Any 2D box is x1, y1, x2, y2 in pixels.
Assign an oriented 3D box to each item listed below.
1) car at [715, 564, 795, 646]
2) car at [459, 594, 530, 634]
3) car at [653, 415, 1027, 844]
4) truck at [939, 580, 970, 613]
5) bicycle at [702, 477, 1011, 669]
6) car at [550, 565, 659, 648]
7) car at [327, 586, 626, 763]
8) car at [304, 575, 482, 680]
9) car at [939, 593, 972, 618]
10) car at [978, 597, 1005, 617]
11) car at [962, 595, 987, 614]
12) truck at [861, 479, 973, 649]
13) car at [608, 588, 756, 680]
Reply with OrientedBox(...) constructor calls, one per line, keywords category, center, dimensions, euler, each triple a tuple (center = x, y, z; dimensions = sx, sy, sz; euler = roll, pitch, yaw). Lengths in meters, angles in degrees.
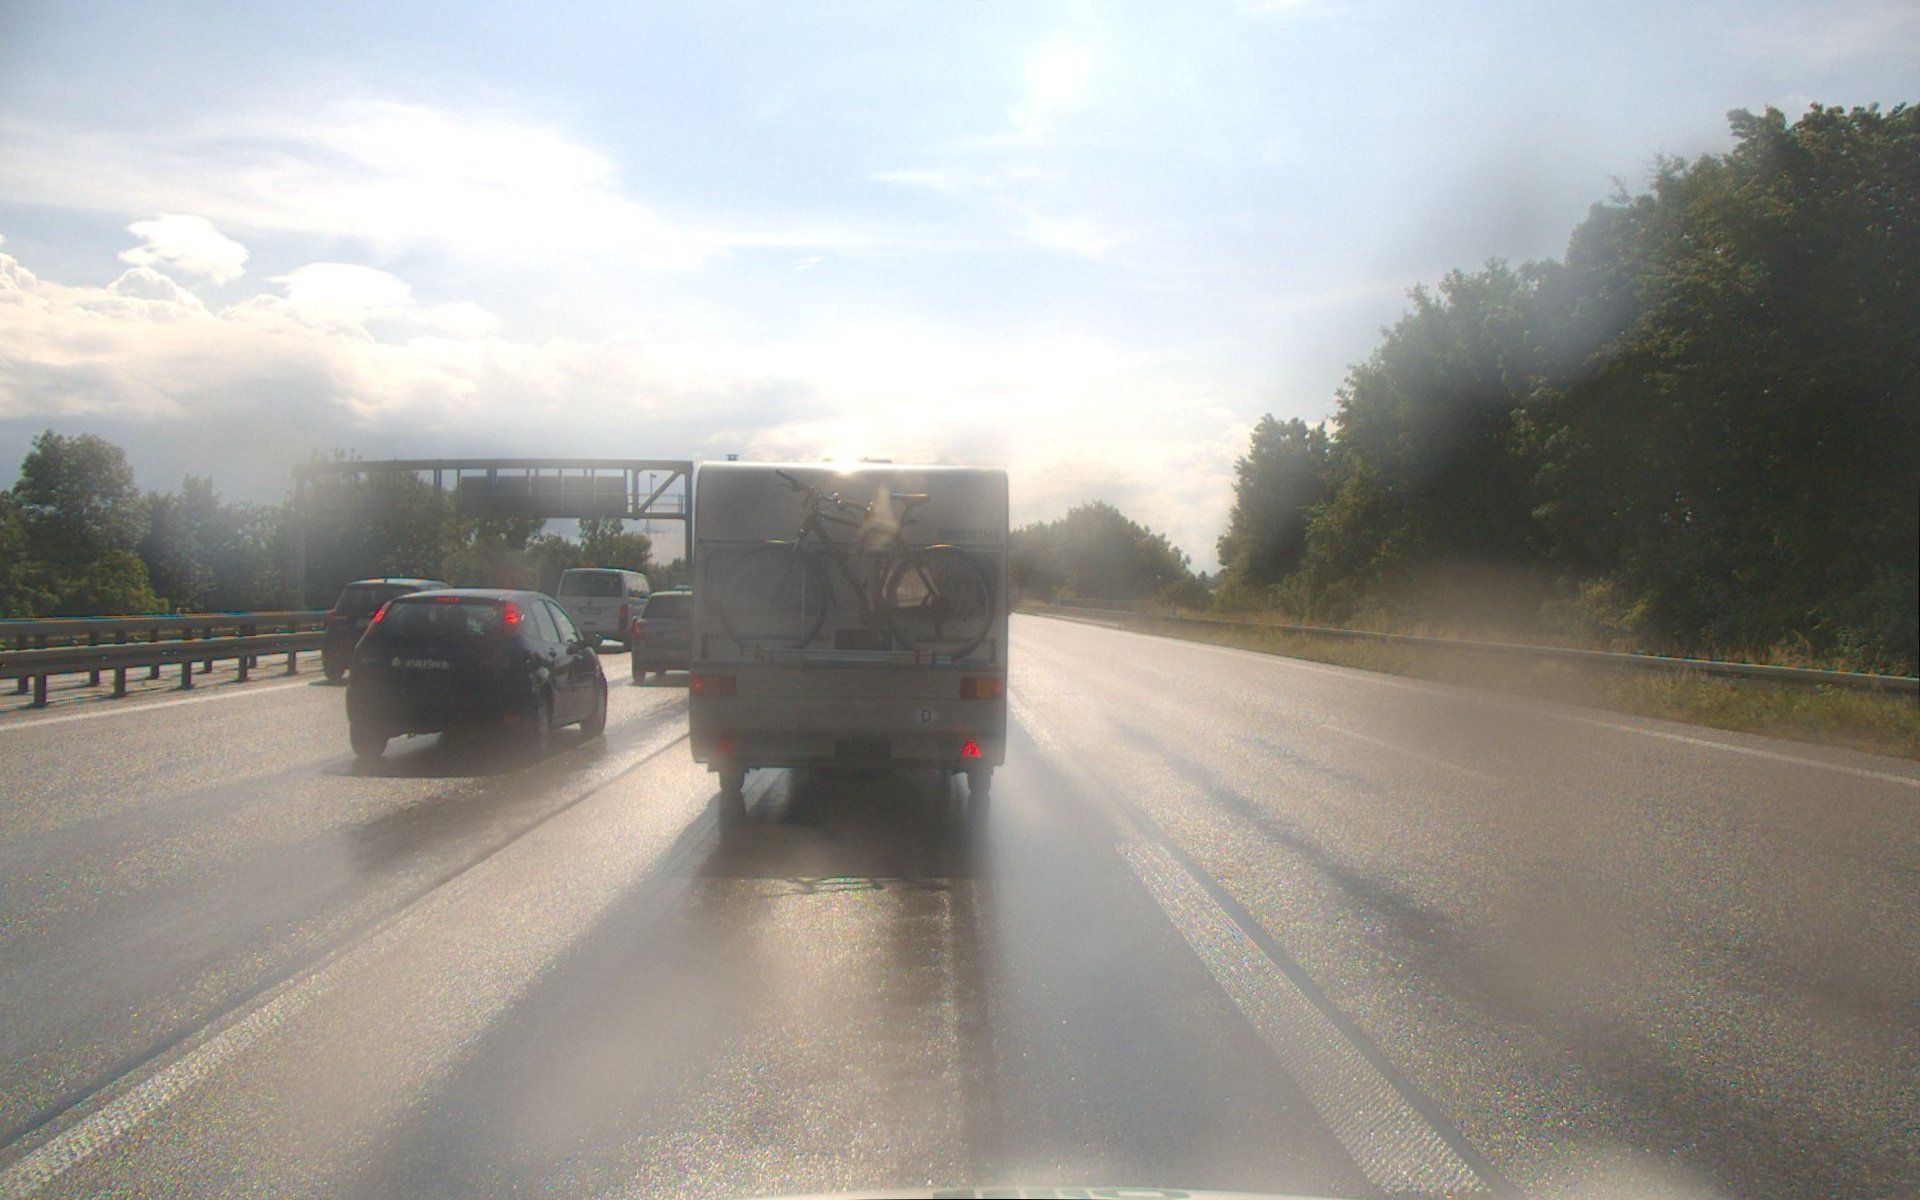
OrientedBox(category="car", center=(-5.409, 0.131, 44.067), dimensions=(1.839, 2.049, 3.997), euler=(1, 0, -4))
OrientedBox(category="car", center=(-17.659, 0.515, 62.864), dimensions=(1.808, 1.477, 3.631), euler=(1, 0, -3))
OrientedBox(category="car", center=(-0.787, 0.194, 12.633), dimensions=(2.361, 2.721, 3.999), euler=(1, 0, -1))
OrientedBox(category="truck", center=(-0.470, -0.277, 130.139), dimensions=(2.366, 2.486, 6.052), euler=(1, 0, -1))
OrientedBox(category="bicycle", center=(-0.638, -0.167, 10.433), dimensions=(1.894, 1.161, 0.384), euler=(1, 0, 0))
OrientedBox(category="car", center=(-8.944, 0.138, 42.015), dimensions=(1.810, 1.967, 5.014), euler=(1, 0, -2))
OrientedBox(category="car", center=(-4.459, 0.613, 15.882), dimensions=(1.723, 1.468, 3.999), euler=(1, 0, -1))
OrientedBox(category="car", center=(-9.345, 0.414, 27.564), dimensions=(1.747, 1.606, 3.914), euler=(1, 0, -3))
OrientedBox(category="car", center=(-0.303, 0.345, 108.801), dimensions=(1.800, 1.585, 3.996), euler=(1, 0, -5))
OrientedBox(category="car", center=(2.463, 0.535, 129.294), dimensions=(1.839, 1.521, 3.998), euler=(1, 0, -2))
OrientedBox(category="car", center=(1.293, 0.361, 147.534), dimensions=(1.840, 1.657, 3.996), euler=(1, 0, -5))
OrientedBox(category="truck", center=(-1.414, -1.026, 51.481), dimensions=(3.083, 4.707, 10.731), euler=(0, 0, -2))
OrientedBox(category="car", center=(-4.731, 0.539, 28.680), dimensions=(1.947, 1.483, 3.826), euler=(1, 0, -1))
